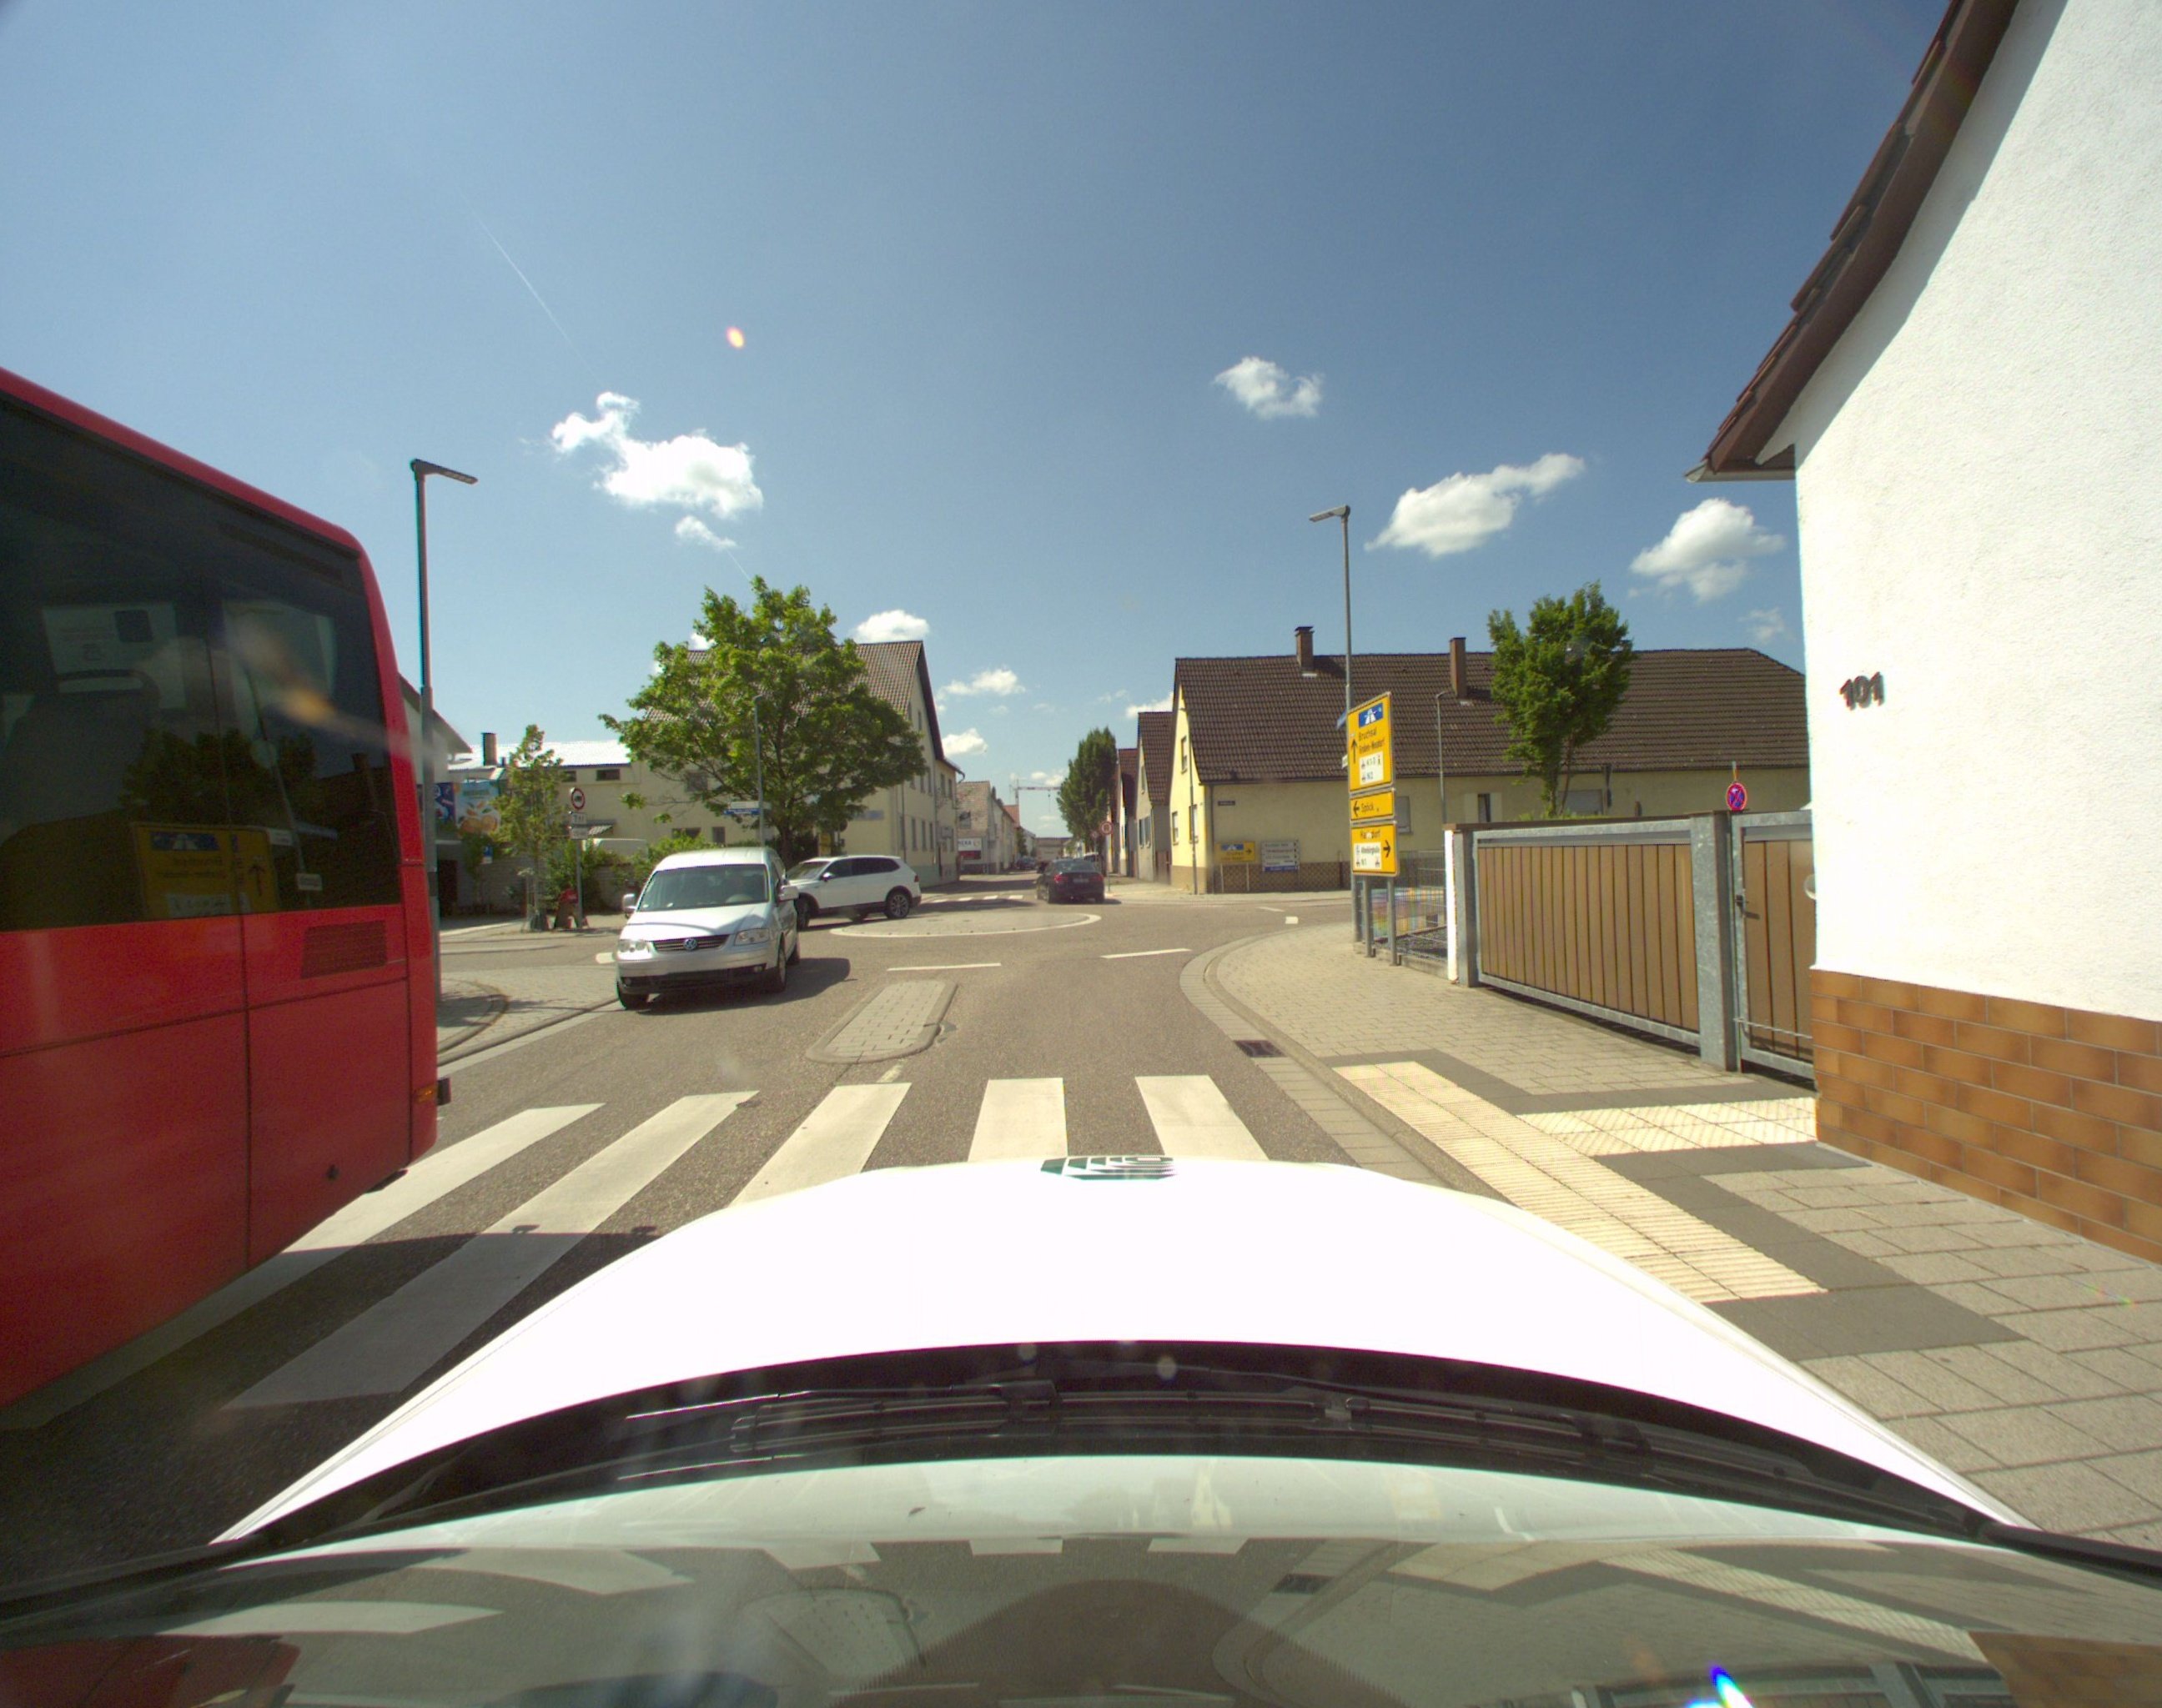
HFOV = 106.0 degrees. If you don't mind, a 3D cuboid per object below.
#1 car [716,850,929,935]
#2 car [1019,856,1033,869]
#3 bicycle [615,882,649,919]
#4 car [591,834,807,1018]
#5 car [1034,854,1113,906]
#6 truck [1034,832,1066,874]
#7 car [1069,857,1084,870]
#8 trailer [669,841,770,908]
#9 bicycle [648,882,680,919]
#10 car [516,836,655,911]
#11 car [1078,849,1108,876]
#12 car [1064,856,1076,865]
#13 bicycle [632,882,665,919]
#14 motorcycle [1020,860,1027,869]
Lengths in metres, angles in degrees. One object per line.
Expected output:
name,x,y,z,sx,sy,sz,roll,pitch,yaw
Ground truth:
car,-6.042,0.826,19.548,1.848,1.710,4.572,-2,0,37
car,-7.436,1.139,110.009,1.805,1.589,3.996,-2,0,-3
bicycle,-14.105,1.451,25.632,0.400,1.003,1.973,-2,2,-14
car,-4.761,0.774,10.821,1.775,1.821,4.418,-4,0,-16
car,-0.356,0.826,27.684,1.903,1.563,4.460,-2,0,-10
truck,-3.252,-0.024,87.850,3.135,4.250,9.298,0,-1,-1
car,-0.477,1.141,95.892,1.714,1.461,4.156,-2,0,0
trailer,-13.549,0.716,30.836,1.874,2.335,4.521,-1,0,-1
bicycle,-13.230,1.447,25.871,0.400,1.003,1.973,-2,2,-14
car,-18.763,0.684,31.224,1.931,2.567,5.644,-1,0,-1
car,0.833,0.637,59.139,1.716,1.790,4.138,-4,0,-4
car,-1.702,1.016,124.277,1.715,1.355,4.153,-2,0,-2
bicycle,-13.673,1.450,25.766,0.400,1.003,1.973,-2,2,-14
motorcycle,-7.496,1.312,106.047,0.844,1.170,2.466,0,-1,-3
